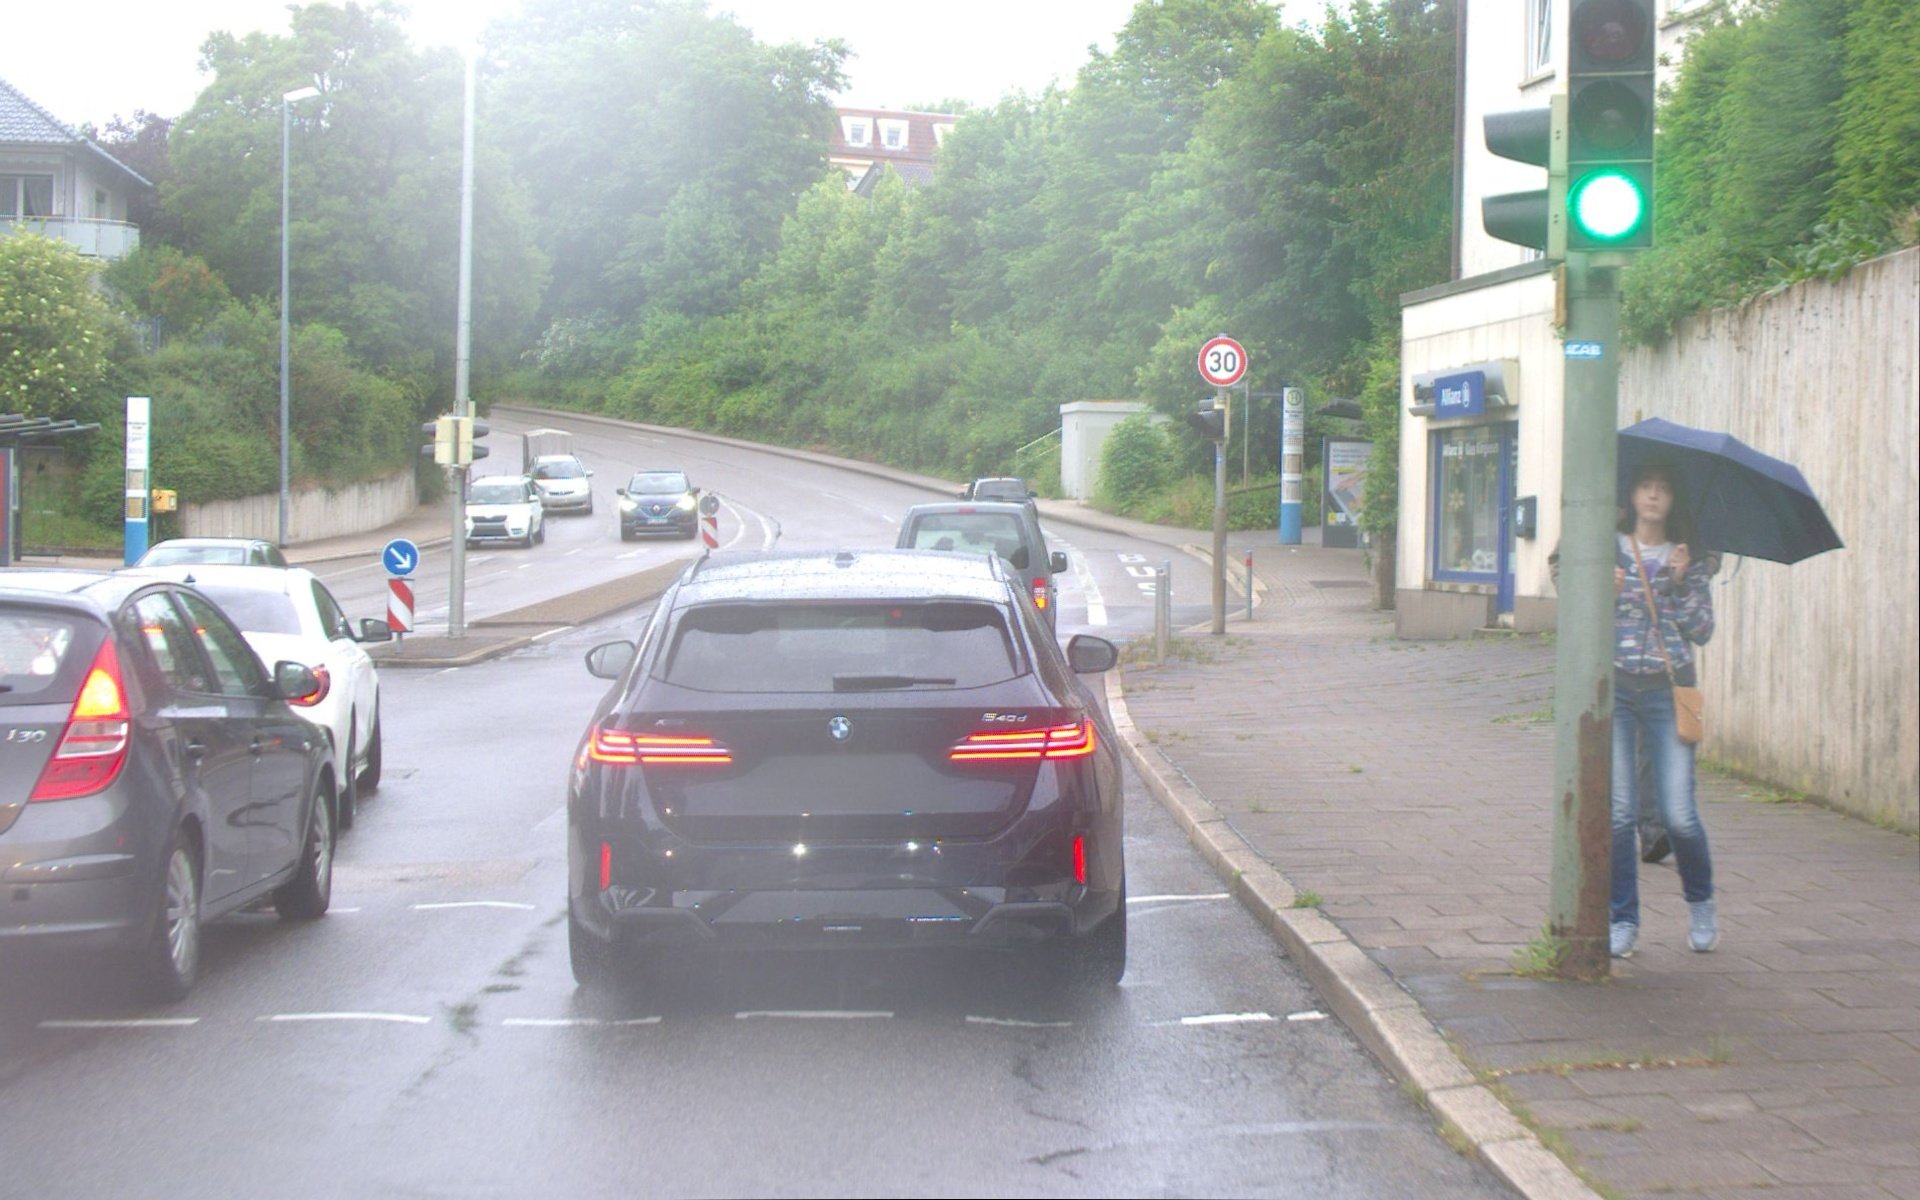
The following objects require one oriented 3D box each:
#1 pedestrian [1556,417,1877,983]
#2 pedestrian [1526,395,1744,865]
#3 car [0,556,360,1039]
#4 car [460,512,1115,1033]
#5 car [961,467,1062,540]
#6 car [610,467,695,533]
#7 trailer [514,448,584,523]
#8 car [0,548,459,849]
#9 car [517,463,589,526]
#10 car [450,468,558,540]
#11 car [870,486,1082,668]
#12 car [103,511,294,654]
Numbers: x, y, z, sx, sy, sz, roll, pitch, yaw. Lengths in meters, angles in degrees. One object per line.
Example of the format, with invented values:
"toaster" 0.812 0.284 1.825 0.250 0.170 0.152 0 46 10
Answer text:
"pedestrian" 2.485 0.310 11.401 0.793 1.774 1.011 -1 1 0
"pedestrian" 2.942 0.126 15.051 0.797 2.007 0.734 0 1 0
"car" -3.454 0.586 12.626 1.835 1.482 4.059 0 1 -1
"car" -0.614 0.543 12.891 1.993 1.581 4.663 1 0 -2
"car" 1.194 -2.303 81.596 1.851 1.656 4.001 1 2 -7
"car" -7.541 -2.452 84.612 1.841 1.546 4.384 -1 1 -2
"trailer" -12.204 -3.401 101.896 1.895 2.171 4.037 -1 2 -9
"car" -4.158 0.466 19.815 1.908 1.523 4.652 0 1 -1
"car" -11.566 -3.016 97.628 1.899 1.677 4.481 -1 3 -8
"car" -10.800 -2.270 81.688 1.823 1.651 4.466 -1 1 2
"car" 0.112 -0.294 36.208 1.993 1.742 4.001 -1 2 -3
"car" -8.915 -0.247 40.520 1.993 1.568 4.001 -1 1 -10
